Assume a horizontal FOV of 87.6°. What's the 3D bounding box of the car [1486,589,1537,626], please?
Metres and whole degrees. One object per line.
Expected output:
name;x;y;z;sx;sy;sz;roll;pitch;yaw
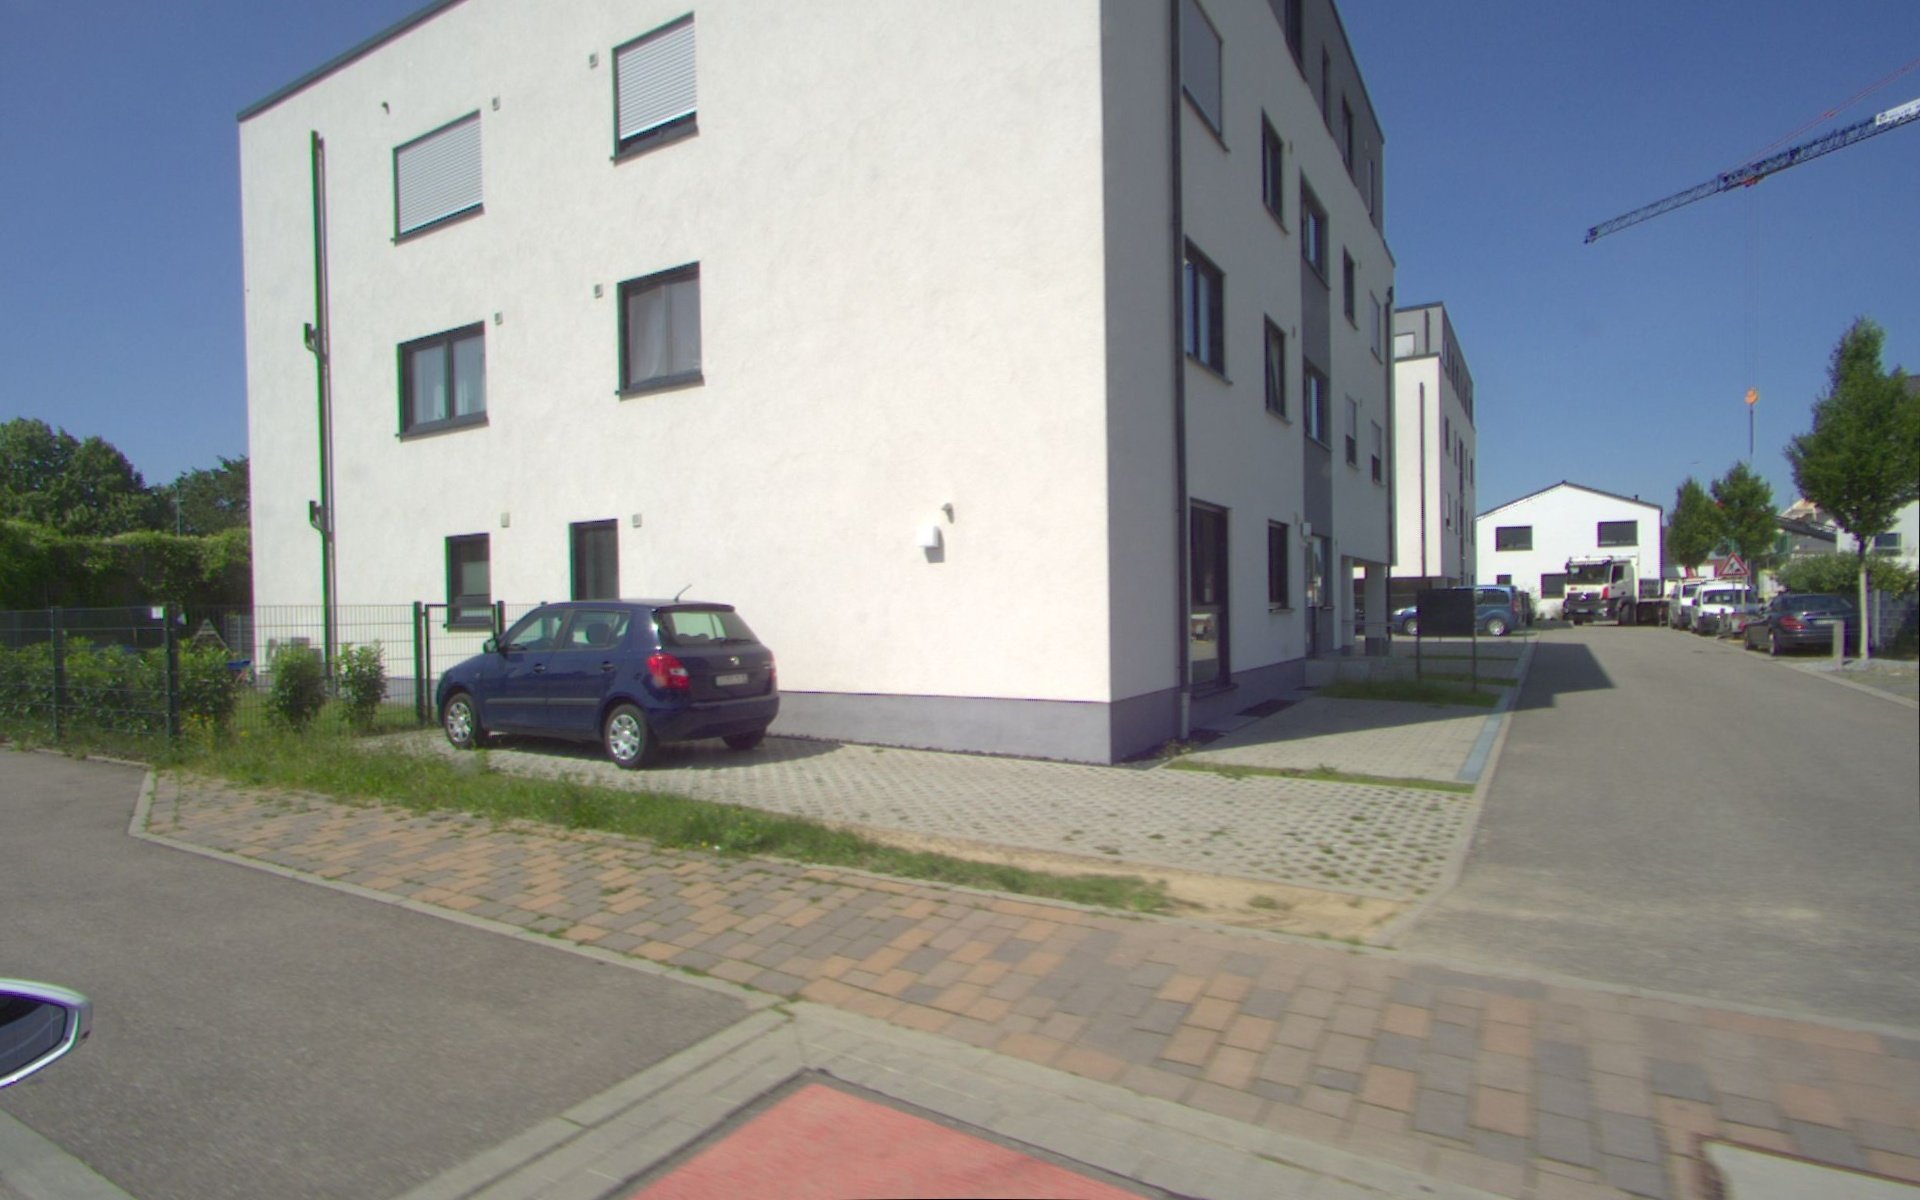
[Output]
car;26.402;0.347;47.908;1.813;1.687;3.894;-1;0;34

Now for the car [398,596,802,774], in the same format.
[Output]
car;-3.717;0.720;10.151;4.055;1.489;1.675;0;0;31

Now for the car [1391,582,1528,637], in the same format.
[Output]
car;17.731;0.369;35.608;4.117;1.834;1.870;-2;0;36

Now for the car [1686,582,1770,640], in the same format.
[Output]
car;26.698;0.362;34.928;1.855;1.861;4.150;-1;0;31

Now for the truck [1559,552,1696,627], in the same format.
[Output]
truck;32.440;-0.510;48.623;6.860;3.435;2.291;-1;-1;-26

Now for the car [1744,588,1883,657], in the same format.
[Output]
car;20.362;0.490;24.080;1.855;1.498;4.150;-1;0;31

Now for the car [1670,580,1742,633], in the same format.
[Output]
car;30.186;0.236;40.646;1.855;2.006;4.587;-1;0;31
